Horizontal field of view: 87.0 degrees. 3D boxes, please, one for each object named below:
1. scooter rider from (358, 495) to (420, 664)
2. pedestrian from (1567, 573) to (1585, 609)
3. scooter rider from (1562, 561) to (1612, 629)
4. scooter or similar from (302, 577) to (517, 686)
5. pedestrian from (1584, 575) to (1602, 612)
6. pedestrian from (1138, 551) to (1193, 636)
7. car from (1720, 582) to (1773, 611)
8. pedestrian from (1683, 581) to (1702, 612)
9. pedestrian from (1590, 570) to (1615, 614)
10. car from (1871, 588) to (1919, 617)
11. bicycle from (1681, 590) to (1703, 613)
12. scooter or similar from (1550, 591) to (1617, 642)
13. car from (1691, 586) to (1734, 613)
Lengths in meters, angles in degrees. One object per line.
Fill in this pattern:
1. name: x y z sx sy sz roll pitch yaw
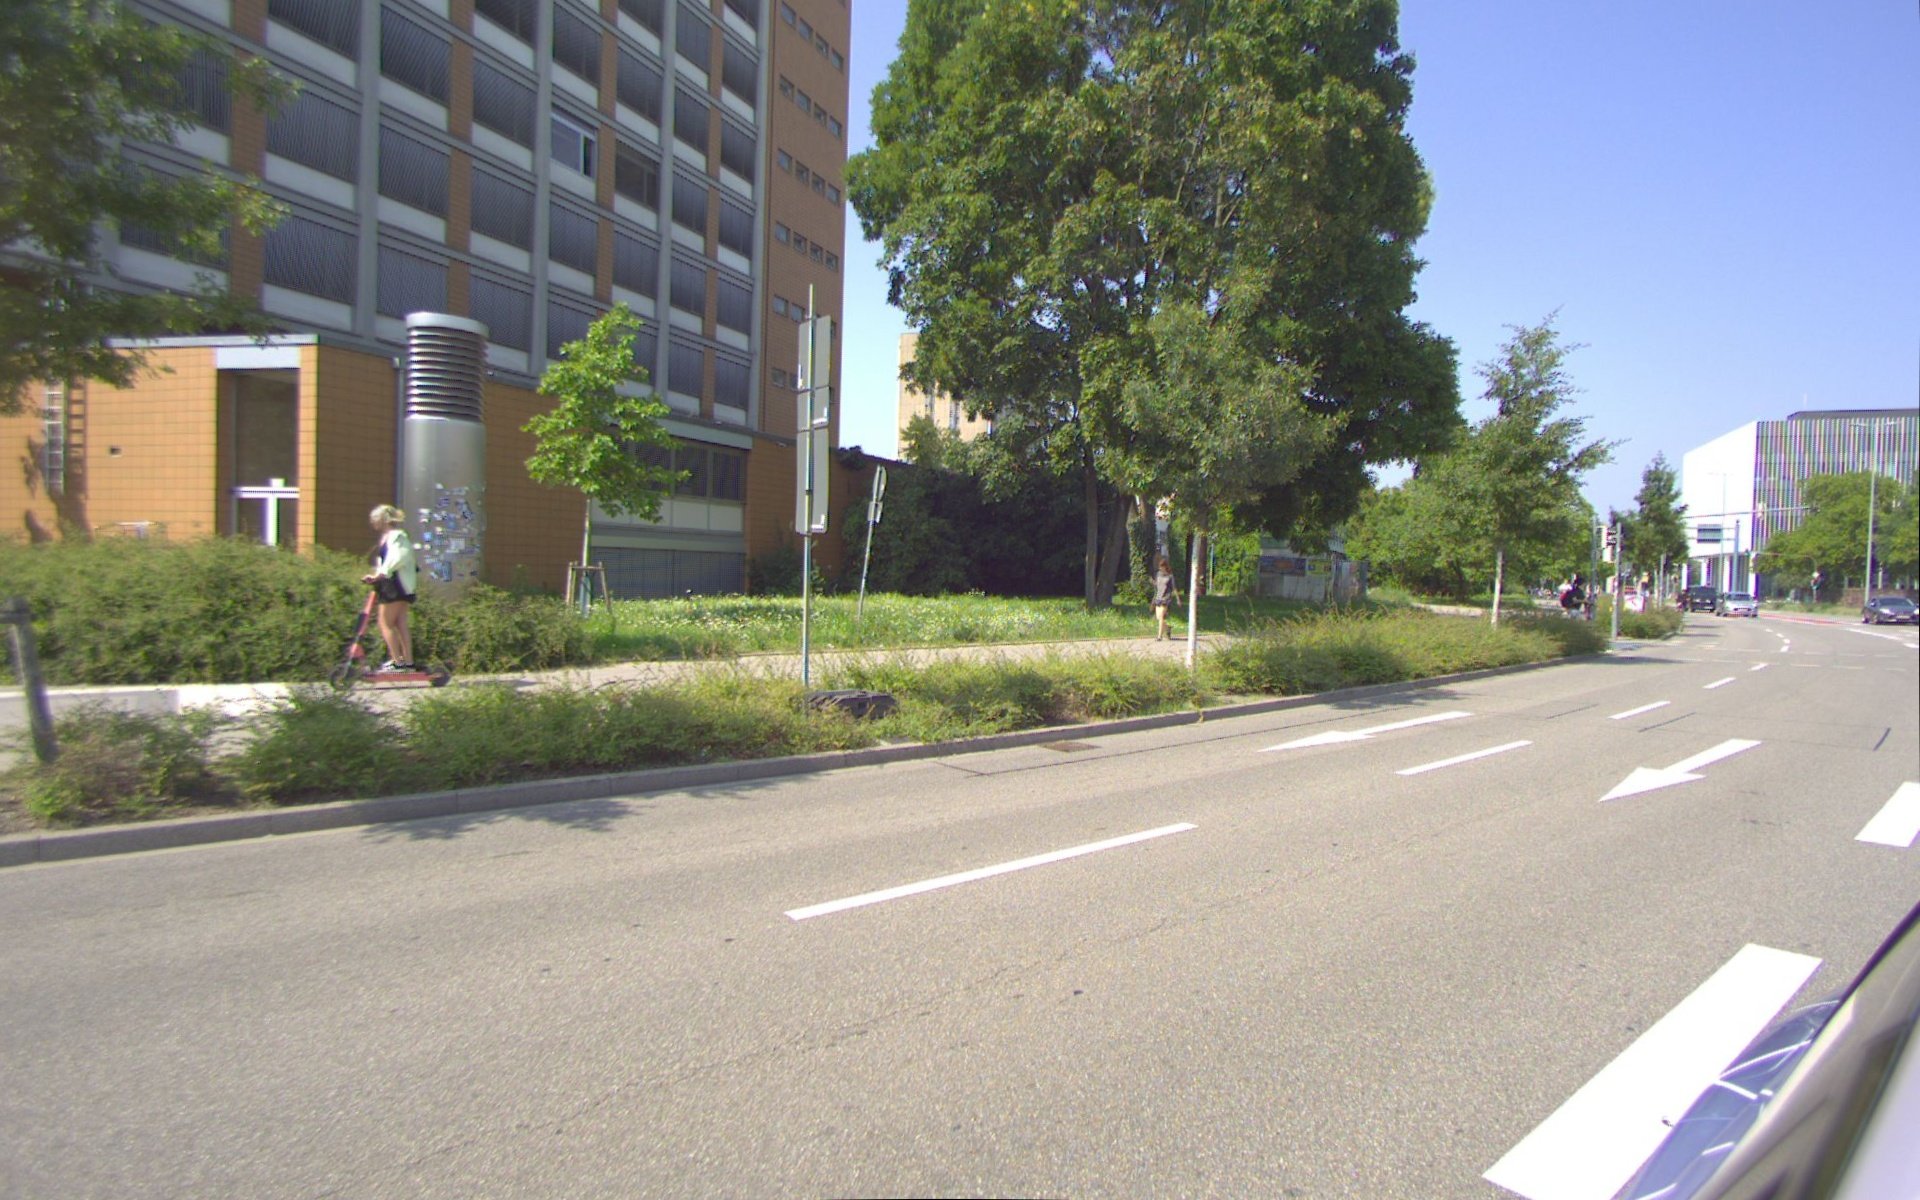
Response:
1. scooter rider: -6.014 -0.216 10.679 0.528 1.720 0.673 1 1 -29
2. pedestrian: 30.730 -0.451 50.517 0.688 1.793 0.581 3 2 30
3. scooter rider: 16.725 -0.147 26.995 0.674 1.760 0.807 1 2 -24
4. scooter or similar: -5.844 0.312 10.834 1.963 1.073 0.559 0 2 -29
5. pedestrian: 31.374 -0.312 50.151 0.688 1.793 0.581 3 2 30
6. pedestrian: 4.338 -0.154 21.337 0.705 1.725 0.866 5 4 42
7. car: 49.307 -0.236 63.506 1.983 1.699 3.960 2 2 29
8. pedestrian: 41.783 -0.203 57.726 0.774 1.689 0.543 3 2 30
9. pedestrian: 27.240 -0.351 42.906 0.787 1.790 0.818 2 2 30
10. car: 47.456 0.117 50.833 1.776 1.374 3.390 1 1 29
11. bicycle: 41.855 0.064 57.870 0.780 1.227 1.770 2 2 30
12. scooter or similar: 16.640 0.424 27.036 0.573 1.249 1.371 1 3 -24
13. car: 55.539 -0.069 74.747 1.983 1.801 3.960 2 2 29
